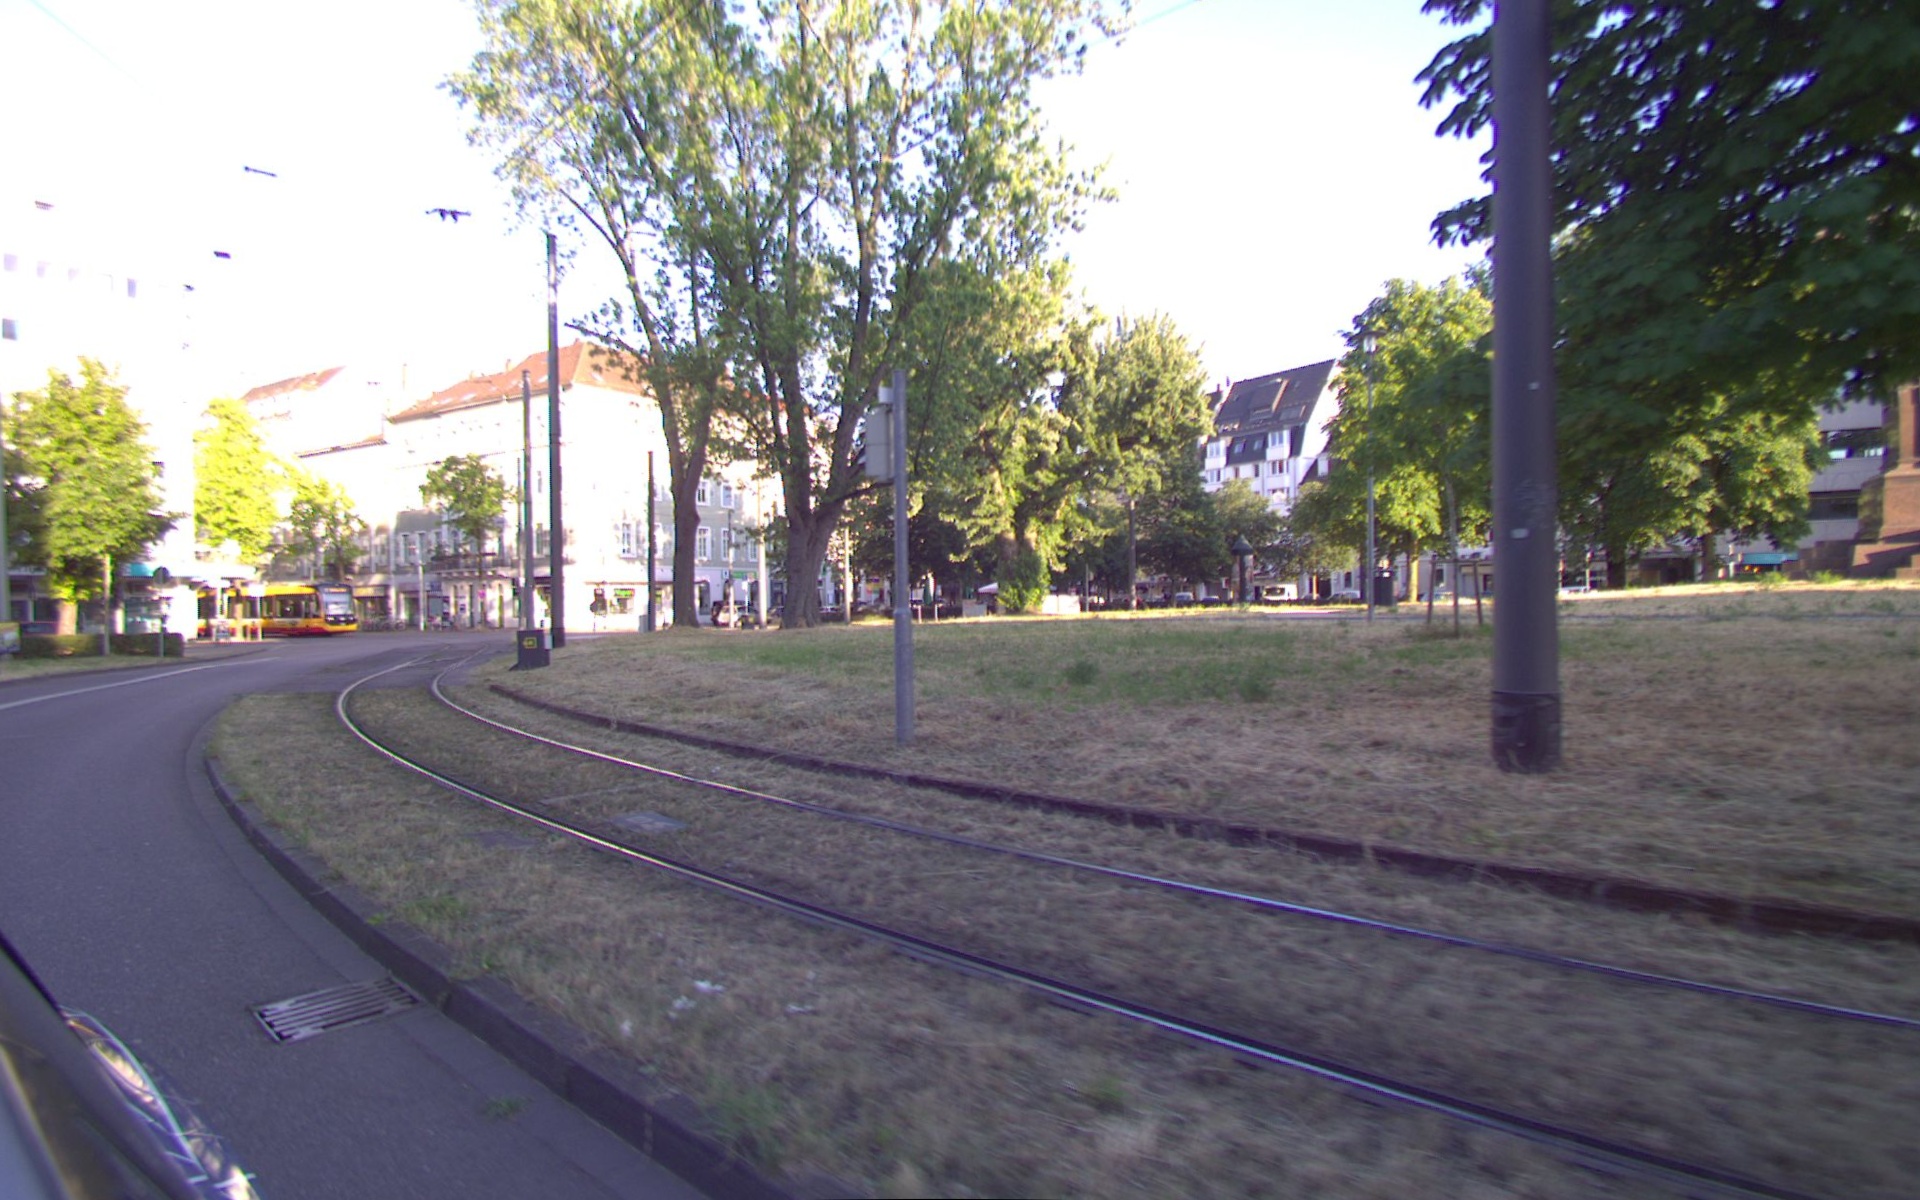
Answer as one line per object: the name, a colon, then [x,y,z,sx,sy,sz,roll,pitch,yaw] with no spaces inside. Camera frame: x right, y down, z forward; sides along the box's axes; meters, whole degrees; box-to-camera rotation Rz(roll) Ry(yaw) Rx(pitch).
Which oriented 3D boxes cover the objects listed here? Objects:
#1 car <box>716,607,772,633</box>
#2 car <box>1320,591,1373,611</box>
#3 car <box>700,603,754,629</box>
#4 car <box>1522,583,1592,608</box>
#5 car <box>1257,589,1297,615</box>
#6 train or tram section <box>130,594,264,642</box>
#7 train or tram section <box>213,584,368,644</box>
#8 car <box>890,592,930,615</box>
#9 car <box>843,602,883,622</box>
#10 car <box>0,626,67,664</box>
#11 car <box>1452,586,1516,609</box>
car: [-15.455,1.401,72.551,1.850,1.719,3.963,-3,-1,27]
car: [33.921,0.084,88.932,1.767,1.592,4.011,-1,-1,-33]
car: [-18.117,1.214,78.920,1.990,1.918,3.963,-3,-1,27]
car: [43.801,-0.316,74.267,1.731,1.676,4.009,-1,-1,-36]
car: [25.791,0.151,82.231,1.995,2.029,3.954,-3,-1,34]
train or tram section: [-55.042,1.297,72.836,12.805,3.165,2.902,-1,0,30]
train or tram section: [-43.959,0.921,66.217,13.315,3.611,2.920,-1,0,30]
car: [-4.491,0.308,91.760,1.850,2.014,3.964,-2,0,27]
car: [-9.026,1.106,94.446,1.850,1.719,3.963,-3,-1,27]
car: [-39.884,1.911,41.930,1.840,1.461,3.961,-3,-1,29]
car: [40.746,-0.167,78.717,1.767,1.592,4.011,-1,-1,-33]
